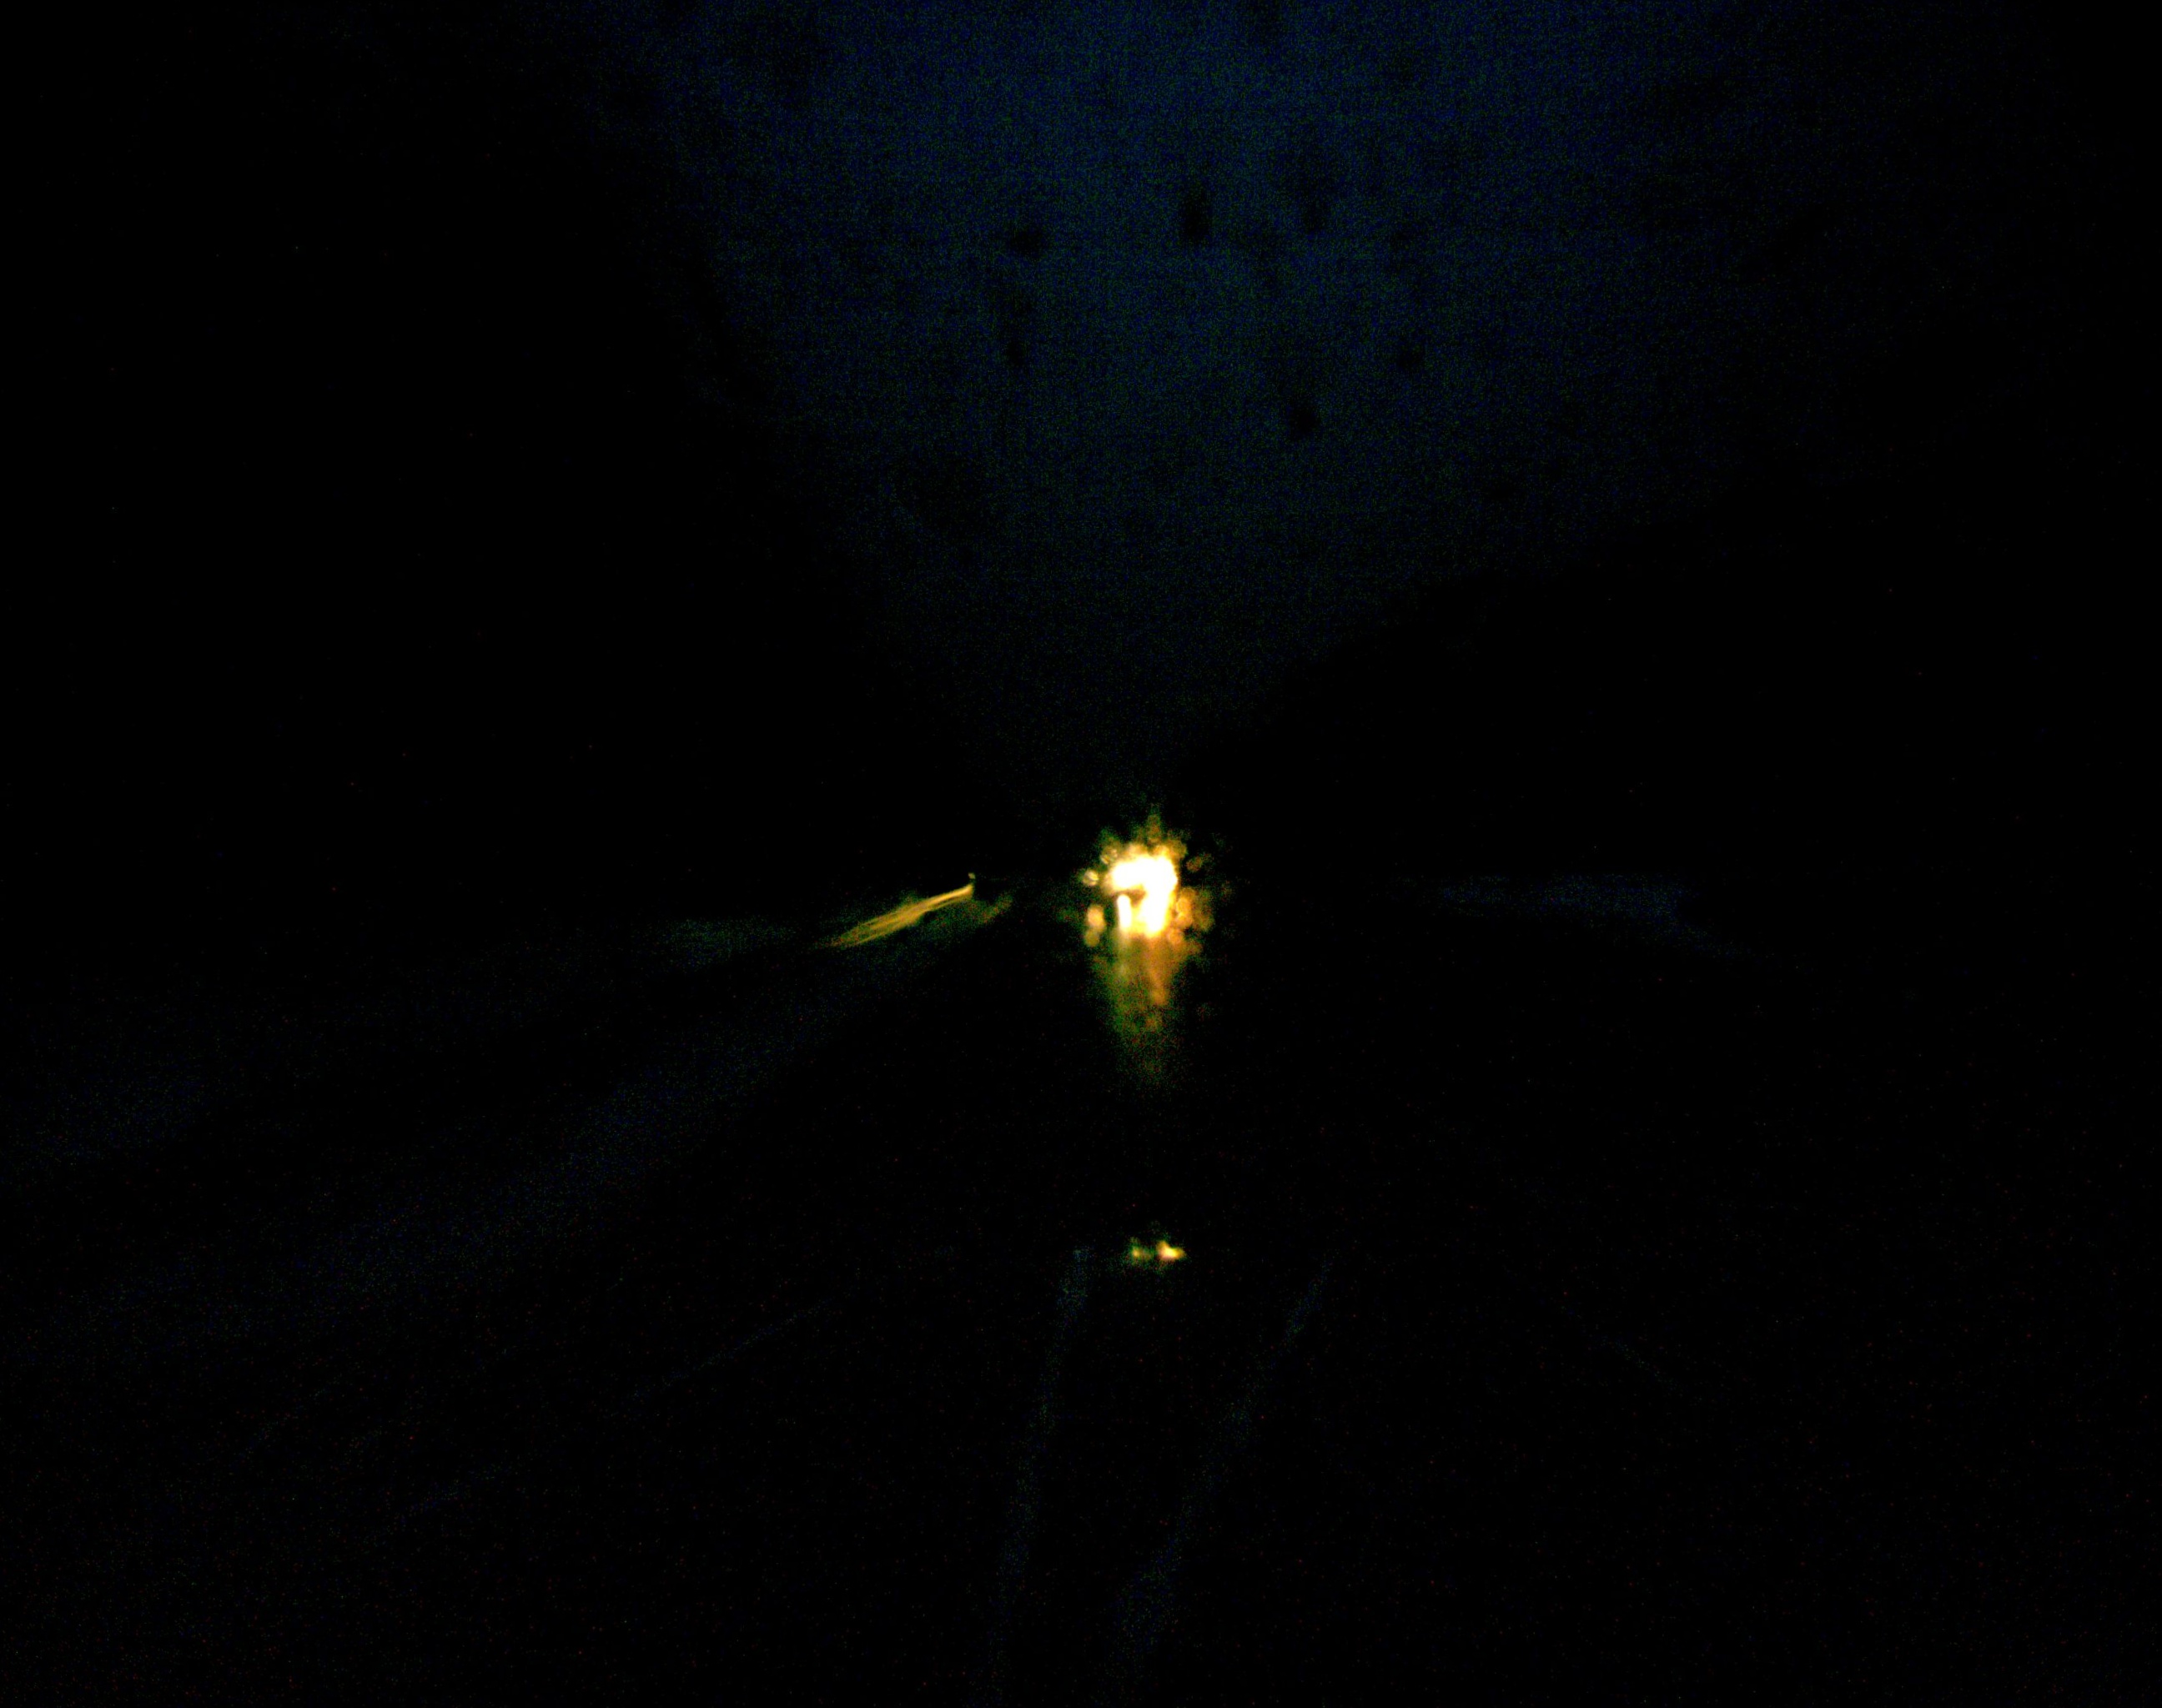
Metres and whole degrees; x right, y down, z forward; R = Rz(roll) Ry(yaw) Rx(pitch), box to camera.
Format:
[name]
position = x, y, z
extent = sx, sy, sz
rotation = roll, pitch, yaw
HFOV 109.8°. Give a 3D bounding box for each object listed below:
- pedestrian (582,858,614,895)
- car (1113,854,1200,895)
[pedestrian]
position = -23.975, 1.121, 37.721
extent = 0.923, 1.816, 0.965
rotation = -2, -1, 25
[car]
position = 2.928, 0.752, 28.871
extent = 1.722, 1.425, 3.684
rotation = -2, -1, 33
